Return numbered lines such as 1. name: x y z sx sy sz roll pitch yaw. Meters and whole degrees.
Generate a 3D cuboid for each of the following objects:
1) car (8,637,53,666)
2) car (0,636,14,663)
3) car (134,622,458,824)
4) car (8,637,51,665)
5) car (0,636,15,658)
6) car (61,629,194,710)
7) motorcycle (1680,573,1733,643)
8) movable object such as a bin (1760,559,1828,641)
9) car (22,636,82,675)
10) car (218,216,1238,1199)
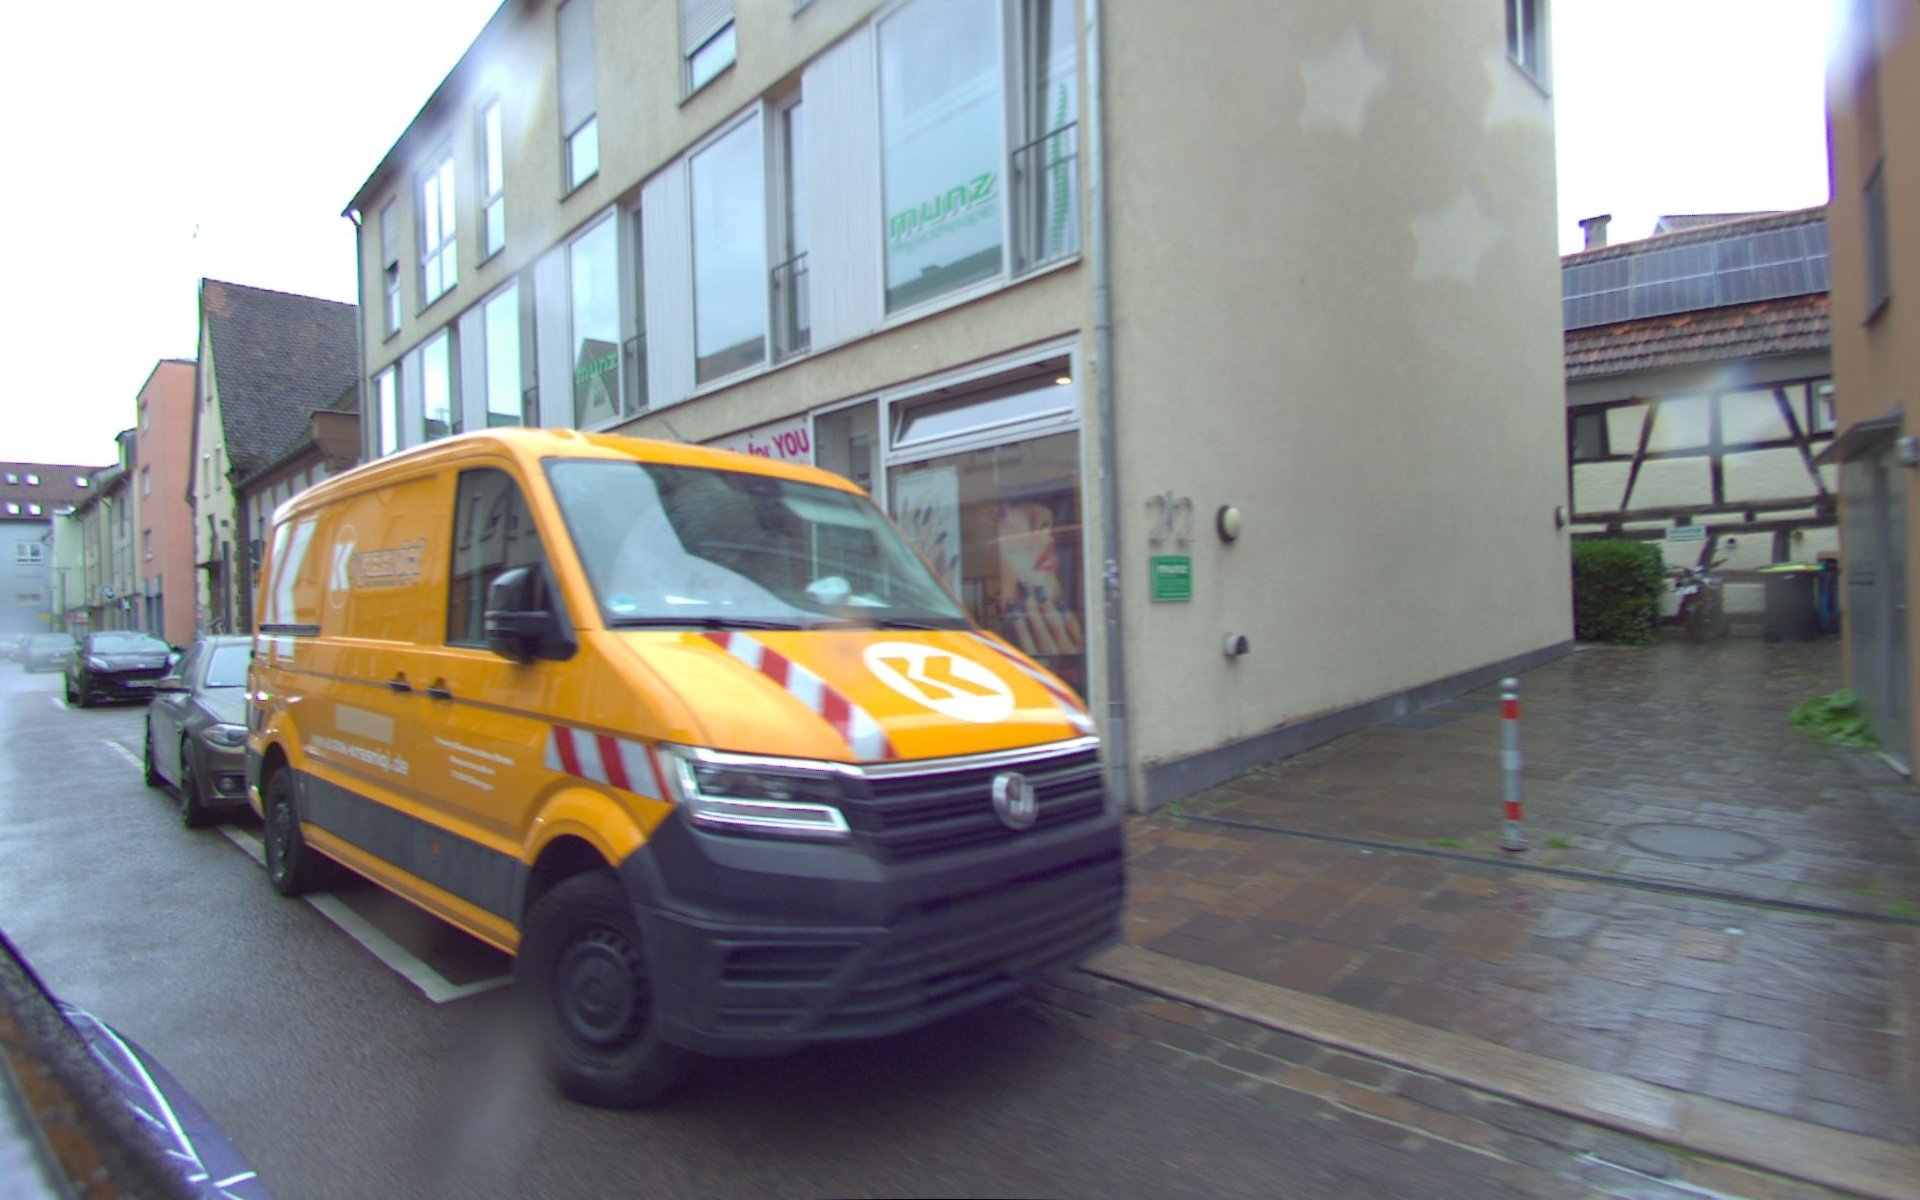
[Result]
1. car: -47.858 2.637 52.070 1.609 1.377 3.491 -2 -1 -44
2. car: -59.632 3.059 62.239 1.971 1.608 4.002 -1 -1 -45
3. car: -6.185 0.936 9.180 1.735 1.366 4.486 1 -3 -43
4. car: -51.027 2.800 55.488 1.609 1.377 3.491 -2 -1 -44
5. car: -63.106 3.136 66.363 1.609 1.377 3.491 -2 -1 -44
6. car: -17.900 1.425 21.699 3.931 1.537 1.716 -2 -1 43
7. motorcycle: 10.933 0.099 14.810 0.519 0.937 1.430 -2 1 39
8. movable object such as a bin: 11.580 -0.003 14.049 0.676 1.087 0.905 -2 1 40
9. car: -35.643 2.166 39.705 1.609 1.377 3.491 -2 -1 -44
10. car: -1.808 0.342 4.997 5.862 2.257 1.971 -2 -1 43
